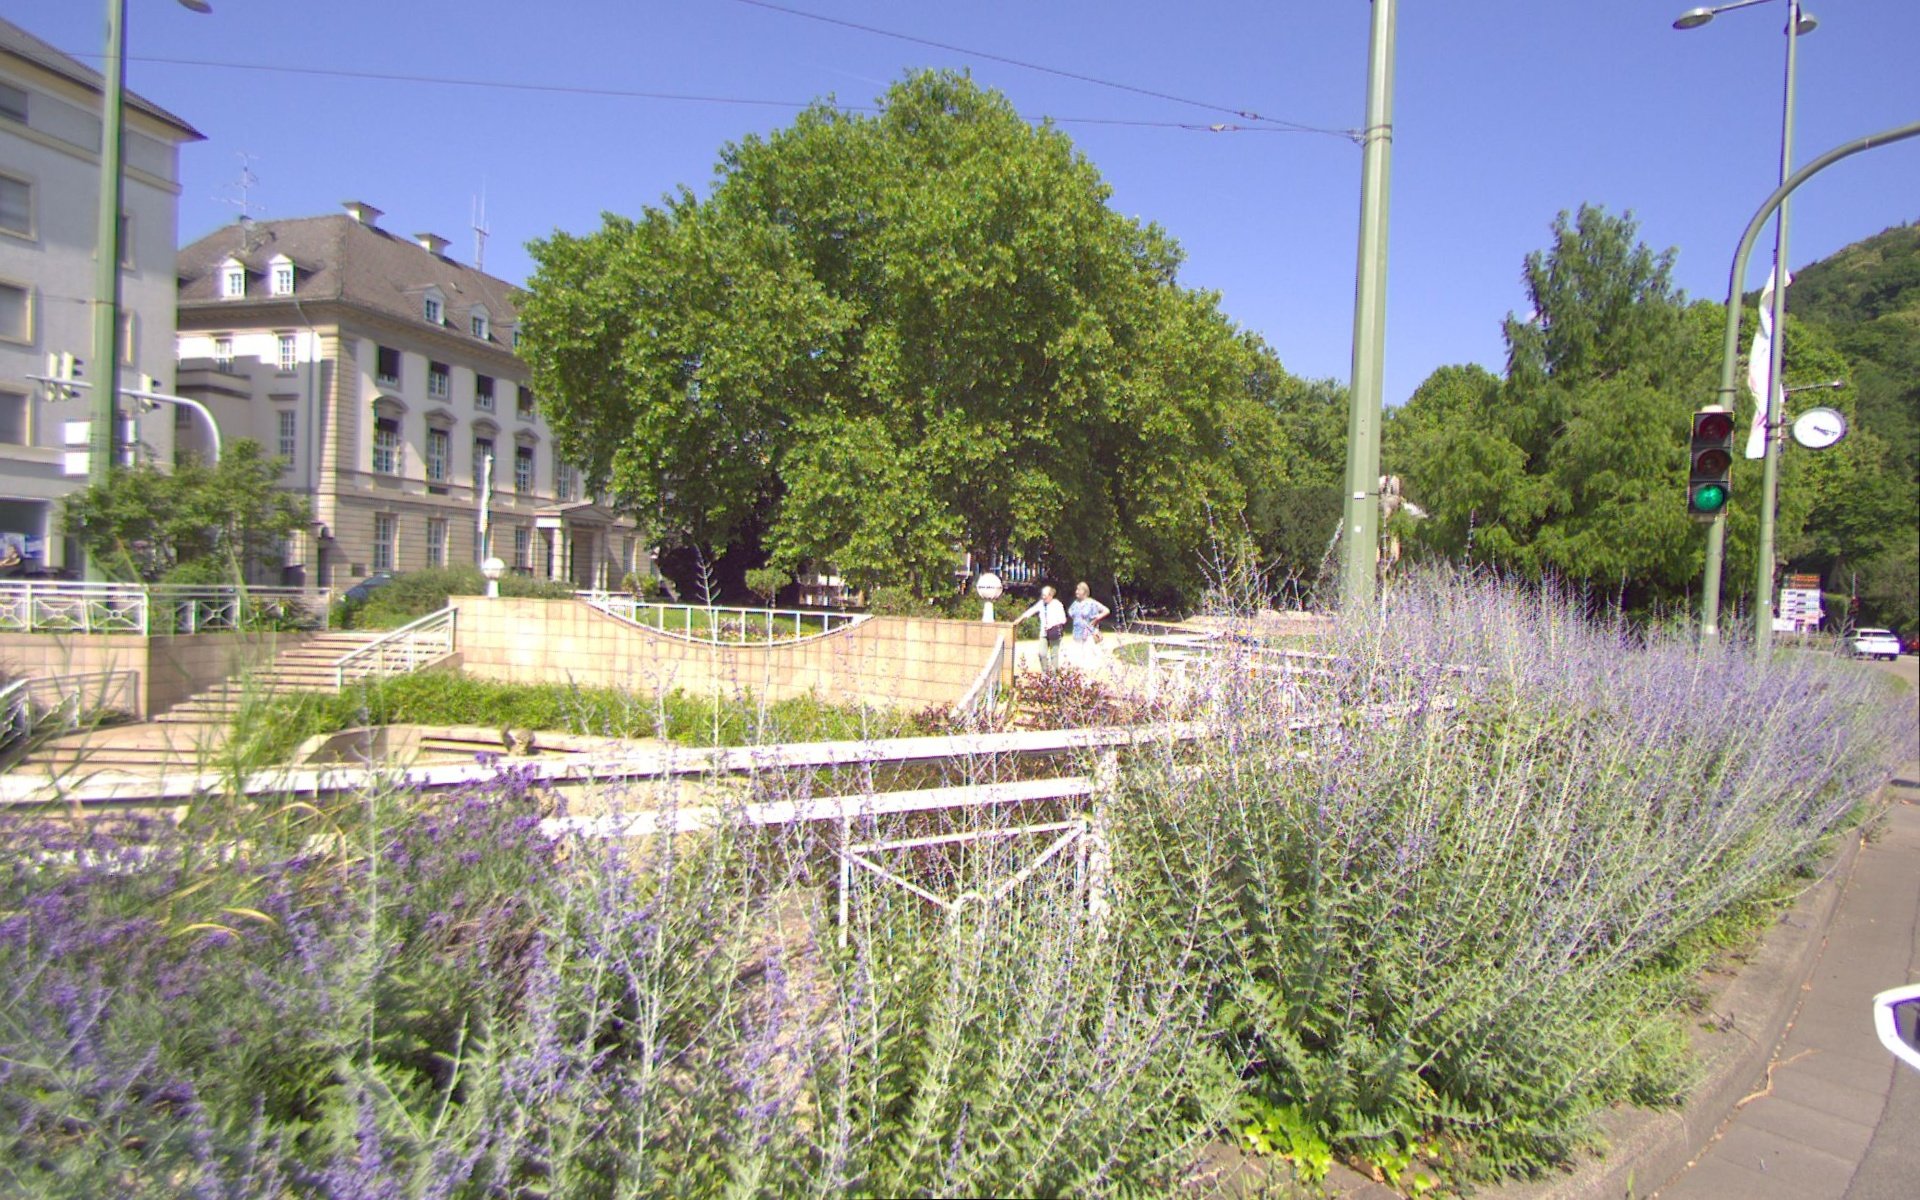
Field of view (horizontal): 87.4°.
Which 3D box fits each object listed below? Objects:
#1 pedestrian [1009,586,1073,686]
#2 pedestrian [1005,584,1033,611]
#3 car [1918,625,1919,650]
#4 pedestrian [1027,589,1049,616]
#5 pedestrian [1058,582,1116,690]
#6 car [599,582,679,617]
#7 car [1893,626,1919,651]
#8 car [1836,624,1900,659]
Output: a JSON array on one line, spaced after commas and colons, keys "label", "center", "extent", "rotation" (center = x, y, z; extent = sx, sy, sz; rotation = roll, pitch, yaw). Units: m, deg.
[{"label": "pedestrian", "center": [1.291, 0.556, 15.985], "extent": [0.835, 1.530, 0.474], "rotation": [3, 1, 28]}, {"label": "pedestrian", "center": [2.820, -0.121, 48.165], "extent": [1.047, 1.242, 0.749], "rotation": [2, 1, -34]}, {"label": "car", "center": [56.987, 2.274, 58.041], "extent": [1.732, 1.480, 3.634], "rotation": [3, 1, 34]}, {"label": "pedestrian", "center": [3.646, 0.115, 47.141], "extent": [0.663, 1.242, 0.749], "rotation": [2, 1, -34]}, {"label": "pedestrian", "center": [1.978, 0.540, 15.620], "extent": [0.680, 1.614, 0.599], "rotation": [3, 1, 28]}, {"label": "car", "center": [-14.061, -0.032, 44.179], "extent": [1.579, 1.397, 3.586], "rotation": [3, 1, 15]}, {"label": "car", "center": [60.007, 2.436, 62.932], "extent": [1.732, 1.480, 3.483], "rotation": [3, 1, 34]}, {"label": "car", "center": [43.207, 1.948, 47.859], "extent": [1.818, 1.480, 3.481], "rotation": [3, 1, 36]}]
